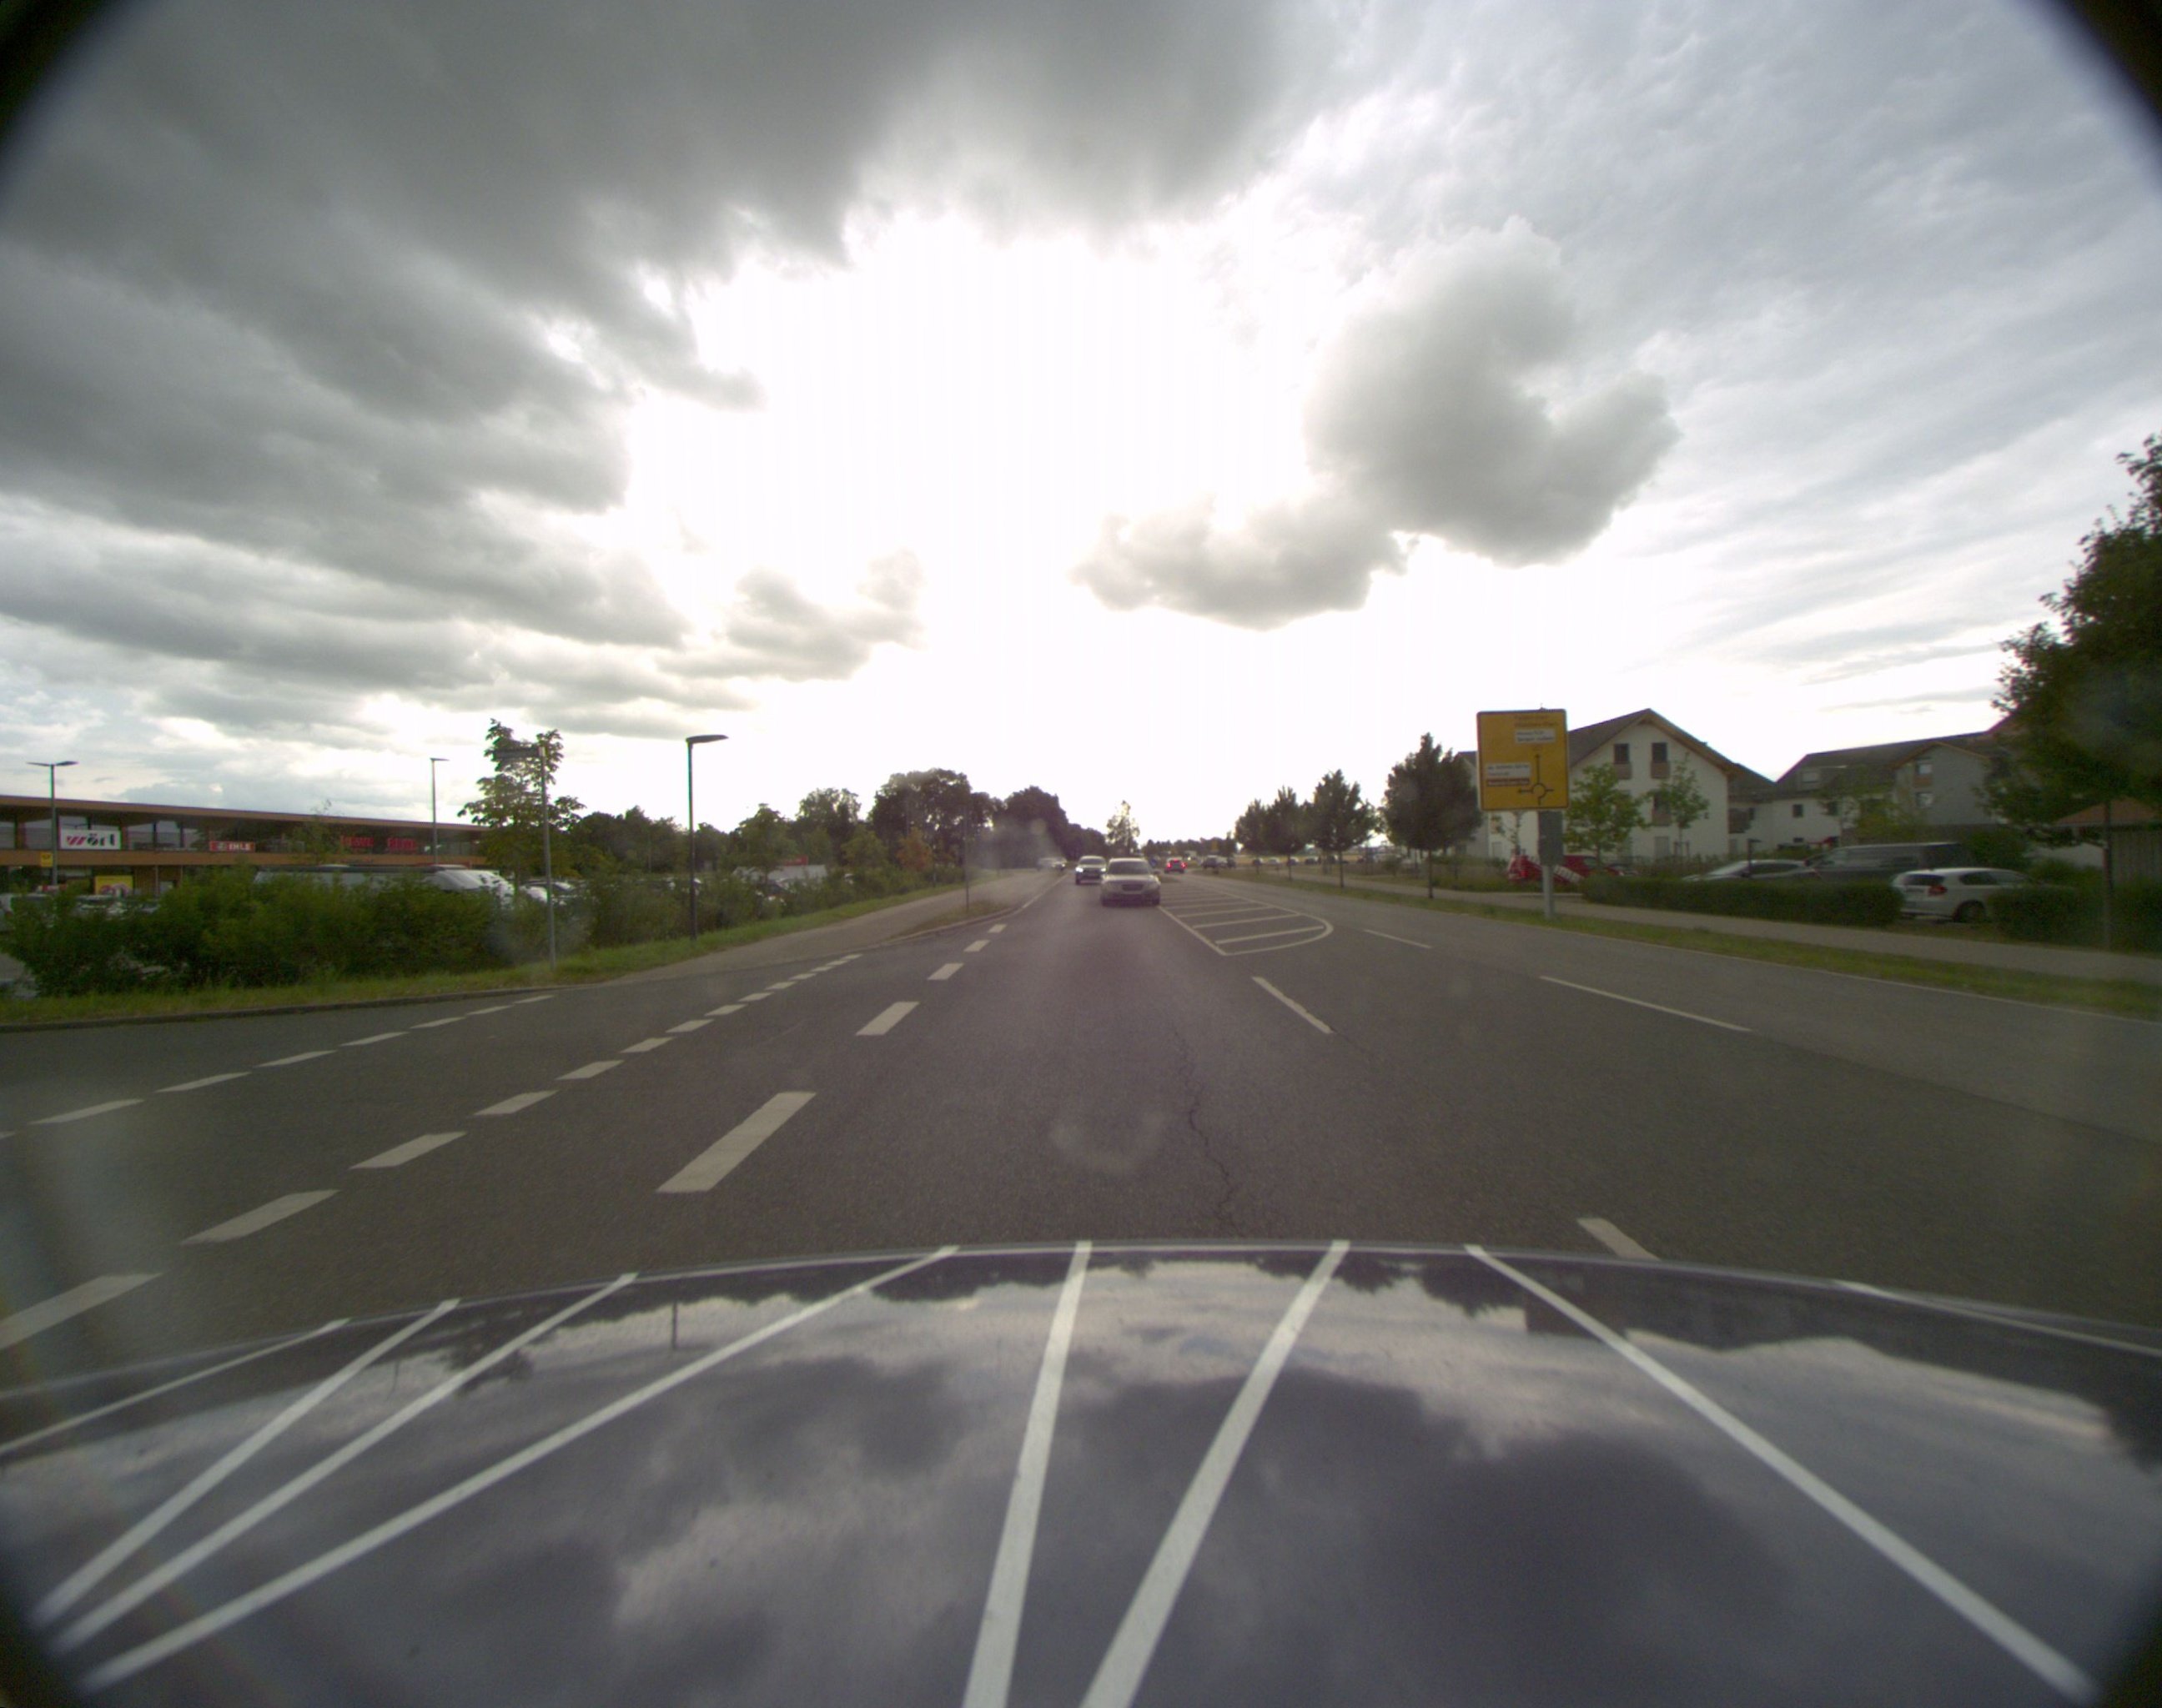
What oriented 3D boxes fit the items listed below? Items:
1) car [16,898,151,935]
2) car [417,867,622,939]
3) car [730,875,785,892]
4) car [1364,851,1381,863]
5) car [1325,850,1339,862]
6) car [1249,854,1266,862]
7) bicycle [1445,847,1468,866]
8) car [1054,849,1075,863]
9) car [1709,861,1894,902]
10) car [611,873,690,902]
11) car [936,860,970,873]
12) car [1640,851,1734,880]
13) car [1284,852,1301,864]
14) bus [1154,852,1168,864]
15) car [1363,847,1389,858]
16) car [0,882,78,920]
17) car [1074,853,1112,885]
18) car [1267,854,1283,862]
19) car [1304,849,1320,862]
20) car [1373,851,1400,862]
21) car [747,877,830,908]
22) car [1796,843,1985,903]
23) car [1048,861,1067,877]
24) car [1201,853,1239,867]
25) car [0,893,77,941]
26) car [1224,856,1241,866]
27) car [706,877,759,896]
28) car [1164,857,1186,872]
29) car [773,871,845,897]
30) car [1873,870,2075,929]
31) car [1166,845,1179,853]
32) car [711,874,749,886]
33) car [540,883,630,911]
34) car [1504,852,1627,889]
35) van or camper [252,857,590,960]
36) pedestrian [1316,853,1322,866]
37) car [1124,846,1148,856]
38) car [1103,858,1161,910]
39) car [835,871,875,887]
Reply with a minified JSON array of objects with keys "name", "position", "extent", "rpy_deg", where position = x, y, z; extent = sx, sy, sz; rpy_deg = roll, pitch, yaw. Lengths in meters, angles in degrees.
[{"name":"car","position":[-47.431,2.935,36.192],"extent":[3.746,1.598,2.039],"rpy_deg":[0,0,1]},{"name":"car","position":[-16.592,1.415,22.643],"extent":[4.605,2.002,2.000],"rpy_deg":[0,0,-1]},{"name":"car","position":[-29.173,2.630,68.574],"extent":[4.127,1.476,2.001],"rpy_deg":[0,0,5]},{"name":"car","position":[47.543,0.500,123.945],"extent":[1.994,2.002,4.008],"rpy_deg":[0,0,29]},{"name":"car","position":[41.027,0.309,124.050],"extent":[1.996,2.002,4.005],"rpy_deg":[0,0,16]},{"name":"car","position":[30.189,0.722,129.953],"extent":[1.995,1.280,4.007],"rpy_deg":[0,0,25]},{"name":"bicycle","position":[28.128,0.176,56.900],"extent":[0.684,1.420,2.094],"rpy_deg":[0,0,1]},{"name":"car","position":[-2.400,0.336,113.244],"extent":[1.996,2.002,4.247],"rpy_deg":[0,0,16]},{"name":"car","position":[26.348,0.979,27.921],"extent":[4.917,1.421,1.906],"rpy_deg":[0,0,2]},{"name":"car","position":[-28.922,2.245,51.105],"extent":[4.269,1.860,2.001],"rpy_deg":[0,0,5]},{"name":"car","position":[-18.413,1.780,109.210],"extent":[4.773,1.793,1.998],"rpy_deg":[0,0,-10]},{"name":"car","position":[33.188,0.611,41.783],"extent":[1.998,1.499,4.000],"rpy_deg":[0,0,1]},{"name":"car","position":[35.510,0.733,127.466],"extent":[1.995,2.002,4.007],"rpy_deg":[0,0,25]},{"name":"bus","position":[22.378,1.043,211.824],"extent":[2.992,3.261,6.483],"rpy_deg":[0,0,-2]},{"name":"car","position":[54.144,-0.332,139.421],"extent":[4.001,2.002,1.998],"rpy_deg":[0,0,-12]},{"name":"car","position":[-52.592,2.302,37.457],"extent":[3.995,1.739,1.946],"rpy_deg":[0,0,5]},{"name":"car","position":[0.733,0.795,42.409],"extent":[1.869,1.578,5.063],"rpy_deg":[-2,0,3]},{"name":"car","position":[32.830,0.685,128.446],"extent":[1.995,1.280,4.007],"rpy_deg":[0,0,25]},{"name":"car","position":[38.256,0.240,125.614],"extent":[1.995,2.002,4.007],"rpy_deg":[0,0,25]},{"name":"car","position":[53.026,0.431,131.890],"extent":[4.000,2.002,1.999],"rpy_deg":[0,0,-8]},{"name":"car","position":[-15.489,2.020,40.341],"extent":[3.766,1.529,1.676],"rpy_deg":[0,0,-1]},{"name":"car","position":[31.468,0.694,29.850],"extent":[1.998,2.001,5.202],"rpy_deg":[-4,0,4]},{"name":"car","position":[-2.785,1.725,89.740],"extent":[2.000,1.827,3.998],"rpy_deg":[0,0,-7]},{"name":"car","position":[16.719,0.706,91.335],"extent":[4.223,1.573,1.827],"rpy_deg":[1,0,-32]},{"name":"car","position":[-46.945,2.696,32.986],"extent":[3.903,1.900,2.039],"rpy_deg":[0,0,-1]},{"name":"car","position":[20.536,0.943,103.104],"extent":[1.774,1.435,4.002],"rpy_deg":[0,0,5]},{"name":"car","position":[-28.818,2.669,62.846],"extent":[3.558,1.524,1.753],"rpy_deg":[0,0,-1]},{"name":"car","position":[9.095,1.002,73.780],"extent":[1.774,1.435,4.000],"rpy_deg":[0,0,1]},{"name":"car","position":[-16.545,1.806,46.349],"extent":[3.766,1.529,1.676],"rpy_deg":[0,0,-1]},{"name":"car","position":[23.690,1.188,20.239],"extent":[3.523,1.480,1.563],"rpy_deg":[0,0,0]},{"name":"car","position":[16.287,-0.860,135.210],"extent":[1.774,1.435,4.000],"rpy_deg":[0,0,1]},{"name":"car","position":[-43.257,3.209,93.684],"extent":[1.697,1.352,4.008],"rpy_deg":[0,0,28]},{"name":"car","position":[-29.300,2.514,44.997],"extent":[3.997,1.433,2.000],"rpy_deg":[-2,0,0]},{"name":"car","position":[24.361,0.821,38.360],"extent":[4.915,1.805,1.907],"rpy_deg":[0,0,6]},{"name":"van or camper","position":[-16.472,1.317,19.282],"extent":[6.483,2.449,2.281],"rpy_deg":[0,0,-2]},{"name":"pedestrian","position":[28.096,0.672,89.664],"extent":[0.547,1.521,0.586],"rpy_deg":[-3,0,1]},{"name":"car","position":[9.074,-0.449,125.548],"extent":[1.994,1.674,4.009],"rpy_deg":[0,0,38]},{"name":"car","position":[1.613,0.882,24.103],"extent":[1.700,1.457,4.001],"rpy_deg":[0,0,4]},{"name":"car","position":[-24.707,2.700,83.178],"extent":[1.697,1.707,4.251],"rpy_deg":[0,0,28]}]
